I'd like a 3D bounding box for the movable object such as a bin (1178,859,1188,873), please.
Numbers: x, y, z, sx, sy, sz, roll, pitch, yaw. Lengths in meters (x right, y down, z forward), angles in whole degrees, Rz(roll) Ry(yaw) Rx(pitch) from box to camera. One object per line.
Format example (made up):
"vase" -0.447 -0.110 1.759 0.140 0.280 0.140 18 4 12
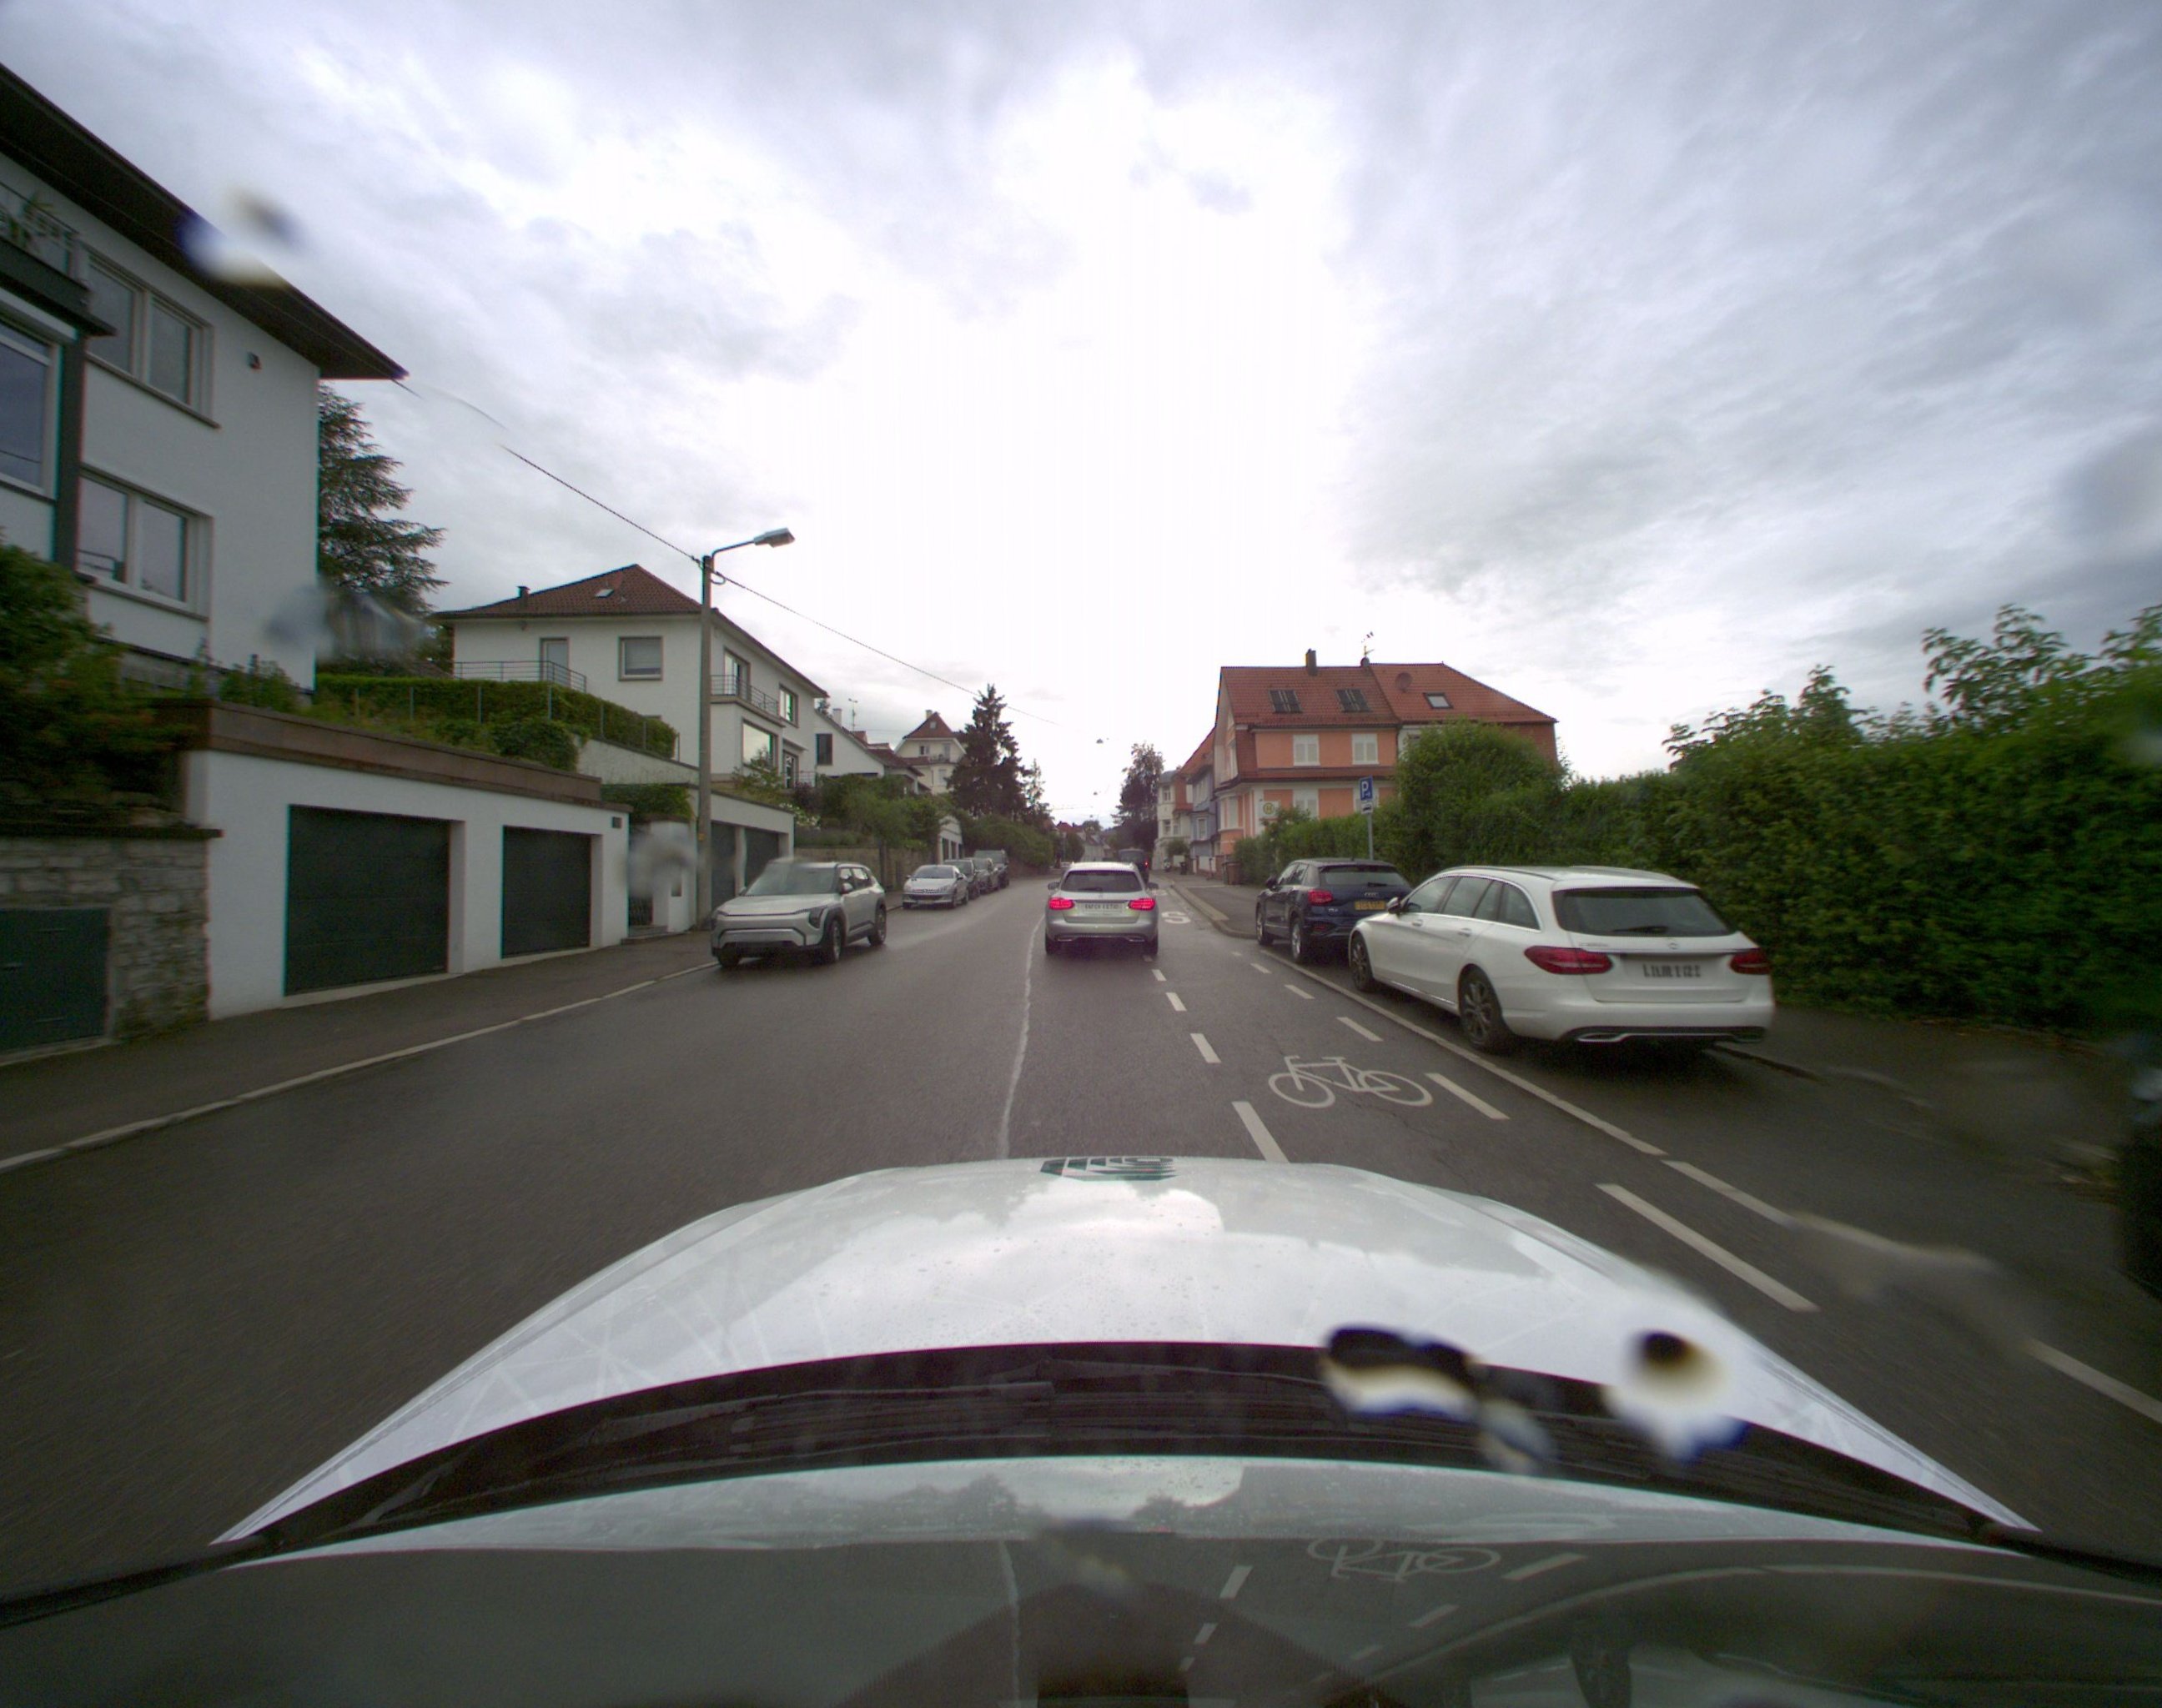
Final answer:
"movable object such as a bin" 7.133 0.856 57.016 0.547 0.936 0.634 -4 0 1

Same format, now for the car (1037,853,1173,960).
"car" 0.436 0.755 14.025 1.975 1.553 4.300 0 0 2

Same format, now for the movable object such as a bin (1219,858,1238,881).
"movable object such as a bin" 6.772 0.704 37.443 0.709 1.030 0.757 -3 0 -1

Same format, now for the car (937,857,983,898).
"car" -4.698 0.879 32.002 1.493 1.524 3.155 0 0 -3

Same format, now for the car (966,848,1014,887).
"car" -4.645 0.657 42.301 2.124 1.860 5.588 0 0 -3

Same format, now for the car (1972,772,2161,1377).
"car" 3.927 0.612 0.465 1.881 1.662 4.547 0 0 -1

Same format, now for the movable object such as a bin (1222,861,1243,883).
"movable object such as a bin" 6.607 0.779 35.493 0.573 0.969 0.663 1 0 -32

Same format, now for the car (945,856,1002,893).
"car" -4.709 0.863 36.405 1.891 1.515 4.343 0 0 1

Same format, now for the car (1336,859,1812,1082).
"car" 3.953 0.774 7.641 1.708 1.405 4.607 0 0 0

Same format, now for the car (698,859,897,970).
"car" -4.680 0.909 14.191 1.891 1.567 4.238 -1 0 1

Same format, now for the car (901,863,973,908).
"car" -4.683 0.992 26.991 1.604 1.337 3.841 0 0 1

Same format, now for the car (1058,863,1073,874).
"car" -2.194 2.006 115.999 2.110 1.471 4.016 0 0 0

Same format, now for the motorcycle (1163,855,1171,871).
"motorcycle" 7.048 0.746 66.753 0.579 1.261 2.334 -3 0 4

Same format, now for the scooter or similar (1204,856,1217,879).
"scooter or similar" 7.176 0.731 45.114 0.688 1.224 1.302 -1 0 9

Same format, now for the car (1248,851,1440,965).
"car" 3.976 0.740 13.089 1.748 1.530 4.205 0 0 0

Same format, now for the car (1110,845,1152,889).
"car" 2.433 0.577 40.009 1.816 1.882 4.099 -5 1 3

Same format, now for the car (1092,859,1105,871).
"car" 3.767 2.318 173.754 2.458 2.400 4.001 -4 0 1
